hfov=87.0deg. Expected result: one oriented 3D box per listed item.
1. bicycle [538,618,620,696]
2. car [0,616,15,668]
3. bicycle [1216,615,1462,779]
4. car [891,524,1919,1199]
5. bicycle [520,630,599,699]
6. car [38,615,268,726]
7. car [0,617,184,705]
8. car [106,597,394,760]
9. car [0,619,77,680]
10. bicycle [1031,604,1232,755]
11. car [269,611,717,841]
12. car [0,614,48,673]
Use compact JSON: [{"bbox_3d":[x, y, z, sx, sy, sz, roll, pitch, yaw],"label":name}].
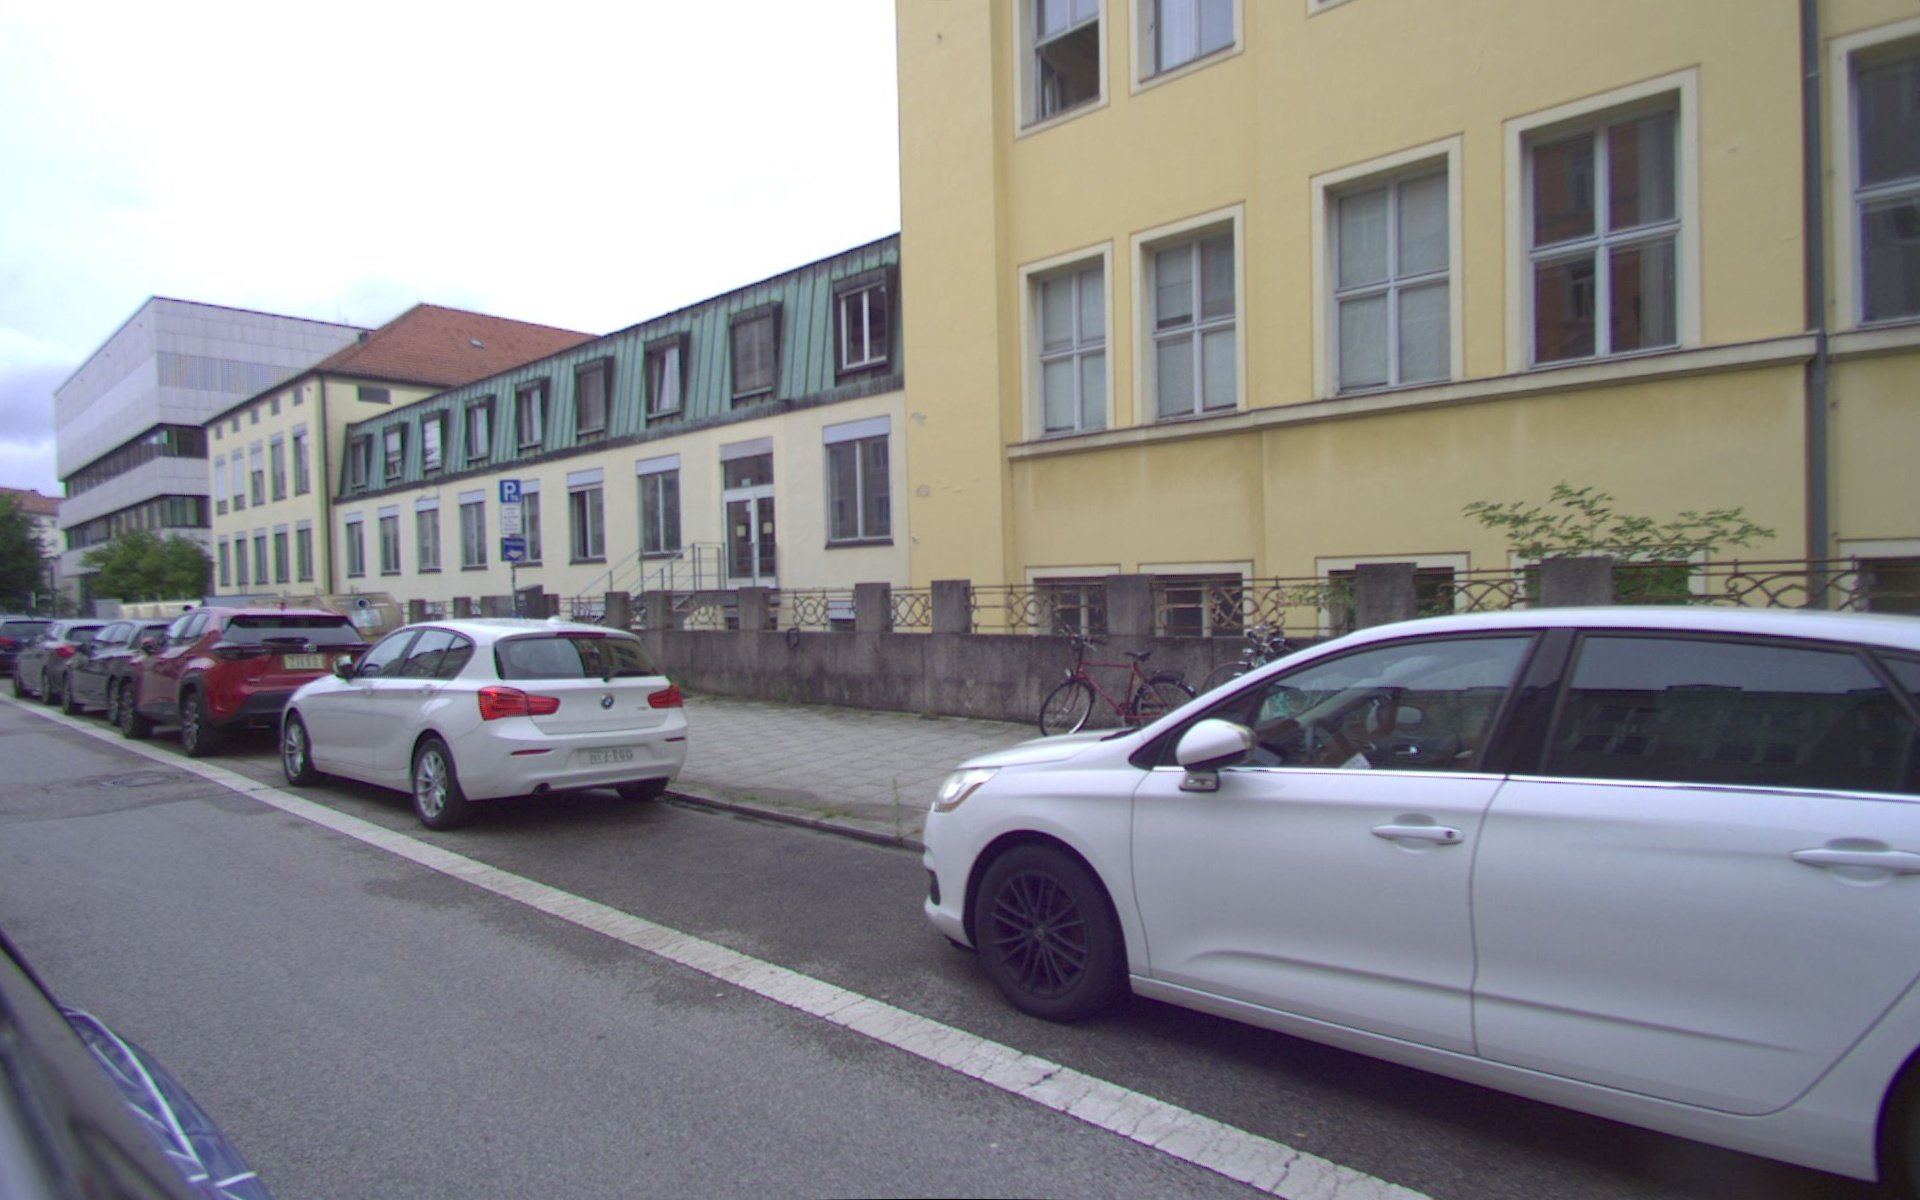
[{"bbox_3d":[-6.251,0.900,16.559,1.939,1.181,0.419,-1,2,44],"label":"bicycle"},{"bbox_3d":[-30.708,1.279,31.293,3.834,1.574,1.622,-1,-2,39],"label":"car"},{"bbox_3d":[2.893,0.687,7.892,0.578,1.085,1.721,-4,2,-37],"label":"bicycle"},{"bbox_3d":[1.833,0.660,3.277,4.084,1.539,1.705,-1,-3,41],"label":"car"},{"bbox_3d":[-6.383,1.001,16.093,1.741,1.002,0.450,-1,2,44],"label":"bicycle"},{"bbox_3d":[-11.867,0.955,14.812,3.983,1.415,1.659,-1,-2,37],"label":"car"},{"bbox_3d":[-15.628,1.027,18.146,4.123,1.415,1.776,-1,-2,39],"label":"car"},{"bbox_3d":[-8.286,0.809,11.697,3.992,1.578,1.658,-1,-2,39],"label":"car"},{"bbox_3d":[-23.457,1.204,25.262,4.000,1.415,1.677,-1,-2,43],"label":"car"},{"bbox_3d":[1.511,0.663,9.117,1.718,1.206,0.579,-1,2,44],"label":"bicycle"},{"bbox_3d":[-3.878,0.824,8.126,3.992,1.408,1.658,-1,-2,39],"label":"car"},{"bbox_3d":[-27.167,1.201,28.440,3.863,1.574,1.679,-1,-2,39],"label":"car"}]
